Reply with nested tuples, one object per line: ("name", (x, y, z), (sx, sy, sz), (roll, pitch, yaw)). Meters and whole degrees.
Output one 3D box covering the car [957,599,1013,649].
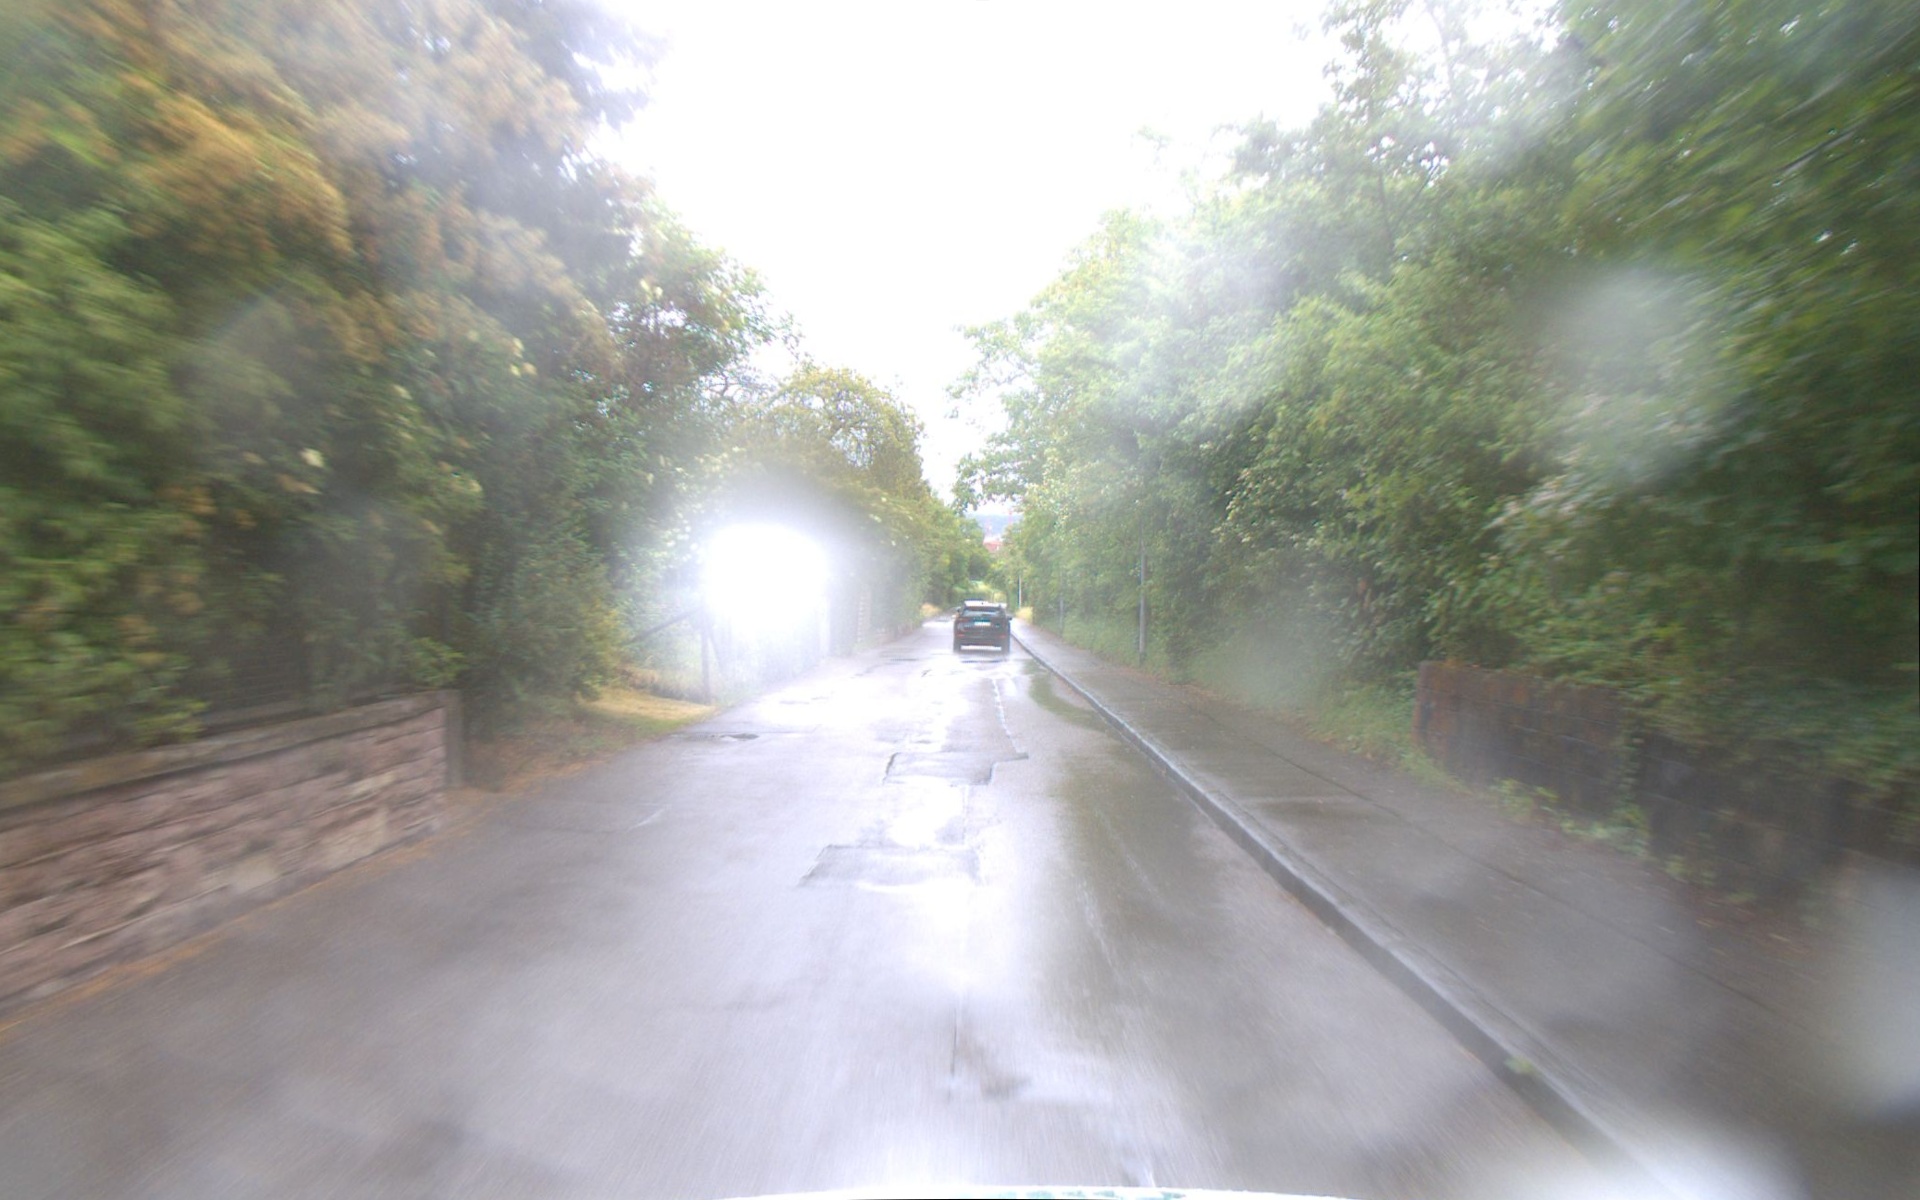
("car", (0.797, 0.746, 51.245), (1.600, 1.476, 3.545), (0, -1, 3))
